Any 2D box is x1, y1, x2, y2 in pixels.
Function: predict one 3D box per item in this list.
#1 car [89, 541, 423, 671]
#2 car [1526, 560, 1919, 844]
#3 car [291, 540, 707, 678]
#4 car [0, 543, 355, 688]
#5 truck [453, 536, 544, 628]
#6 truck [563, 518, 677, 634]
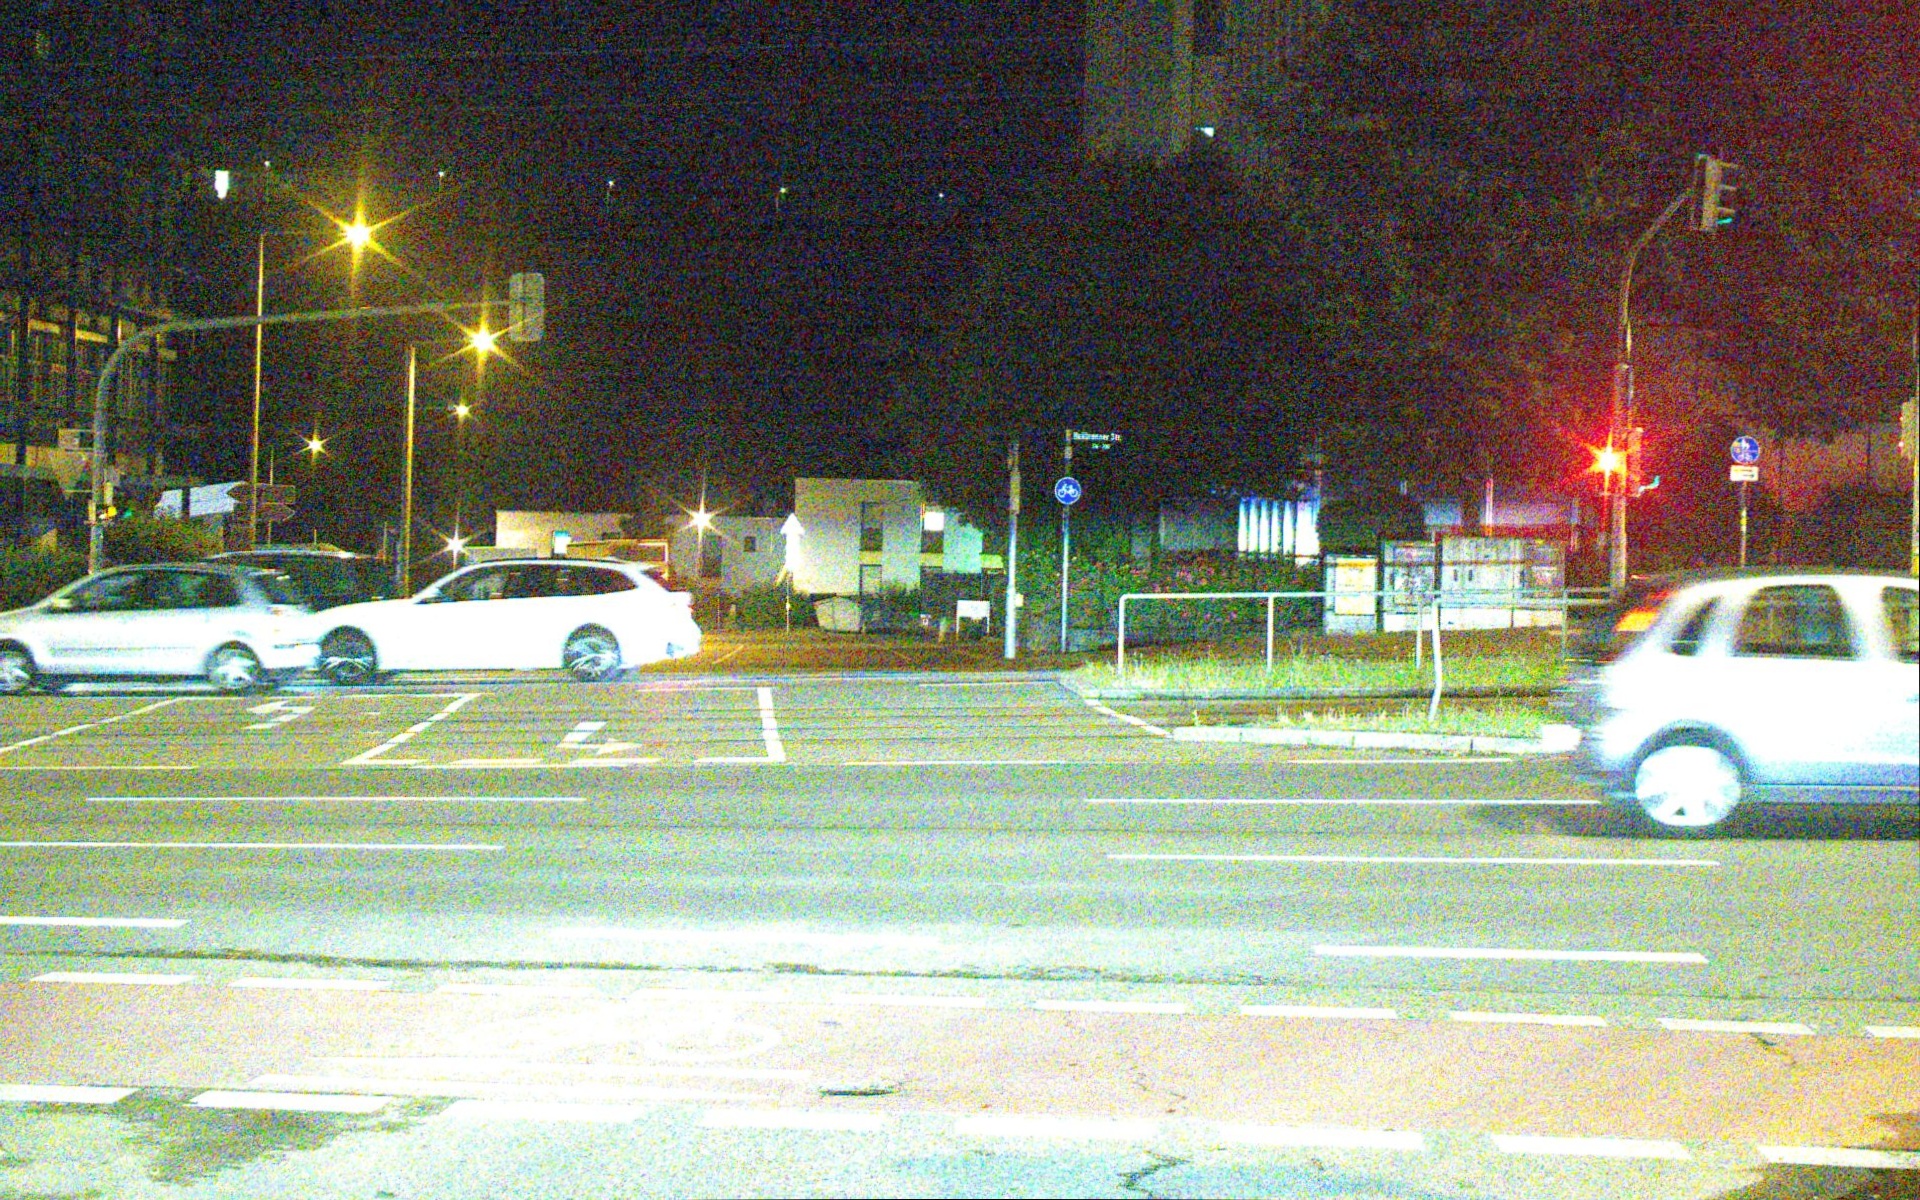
[{"bbox_3d":[-9.009,0.063,44.151,3.820,1.625,1.811,0,1,6],"label":"car"},{"bbox_3d":[5.034,0.508,18.684,3.687,1.415,1.643,-1,1,4],"label":"car"},{"bbox_3d":[-5.366,0.085,40.370,4.575,1.481,1.779,1,1,3],"label":"car"},{"bbox_3d":[-8.749,0.161,37.652,3.835,1.481,1.869,1,0,3],"label":"car"},{"bbox_3d":[-16.167,-0.604,120.125,2.417,3.078,6.439,1,0,-14],"label":"truck"},{"bbox_3d":[-14.778,-1.010,148.851,3.359,4.826,7.908,1,0,-17],"label":"truck"}]
